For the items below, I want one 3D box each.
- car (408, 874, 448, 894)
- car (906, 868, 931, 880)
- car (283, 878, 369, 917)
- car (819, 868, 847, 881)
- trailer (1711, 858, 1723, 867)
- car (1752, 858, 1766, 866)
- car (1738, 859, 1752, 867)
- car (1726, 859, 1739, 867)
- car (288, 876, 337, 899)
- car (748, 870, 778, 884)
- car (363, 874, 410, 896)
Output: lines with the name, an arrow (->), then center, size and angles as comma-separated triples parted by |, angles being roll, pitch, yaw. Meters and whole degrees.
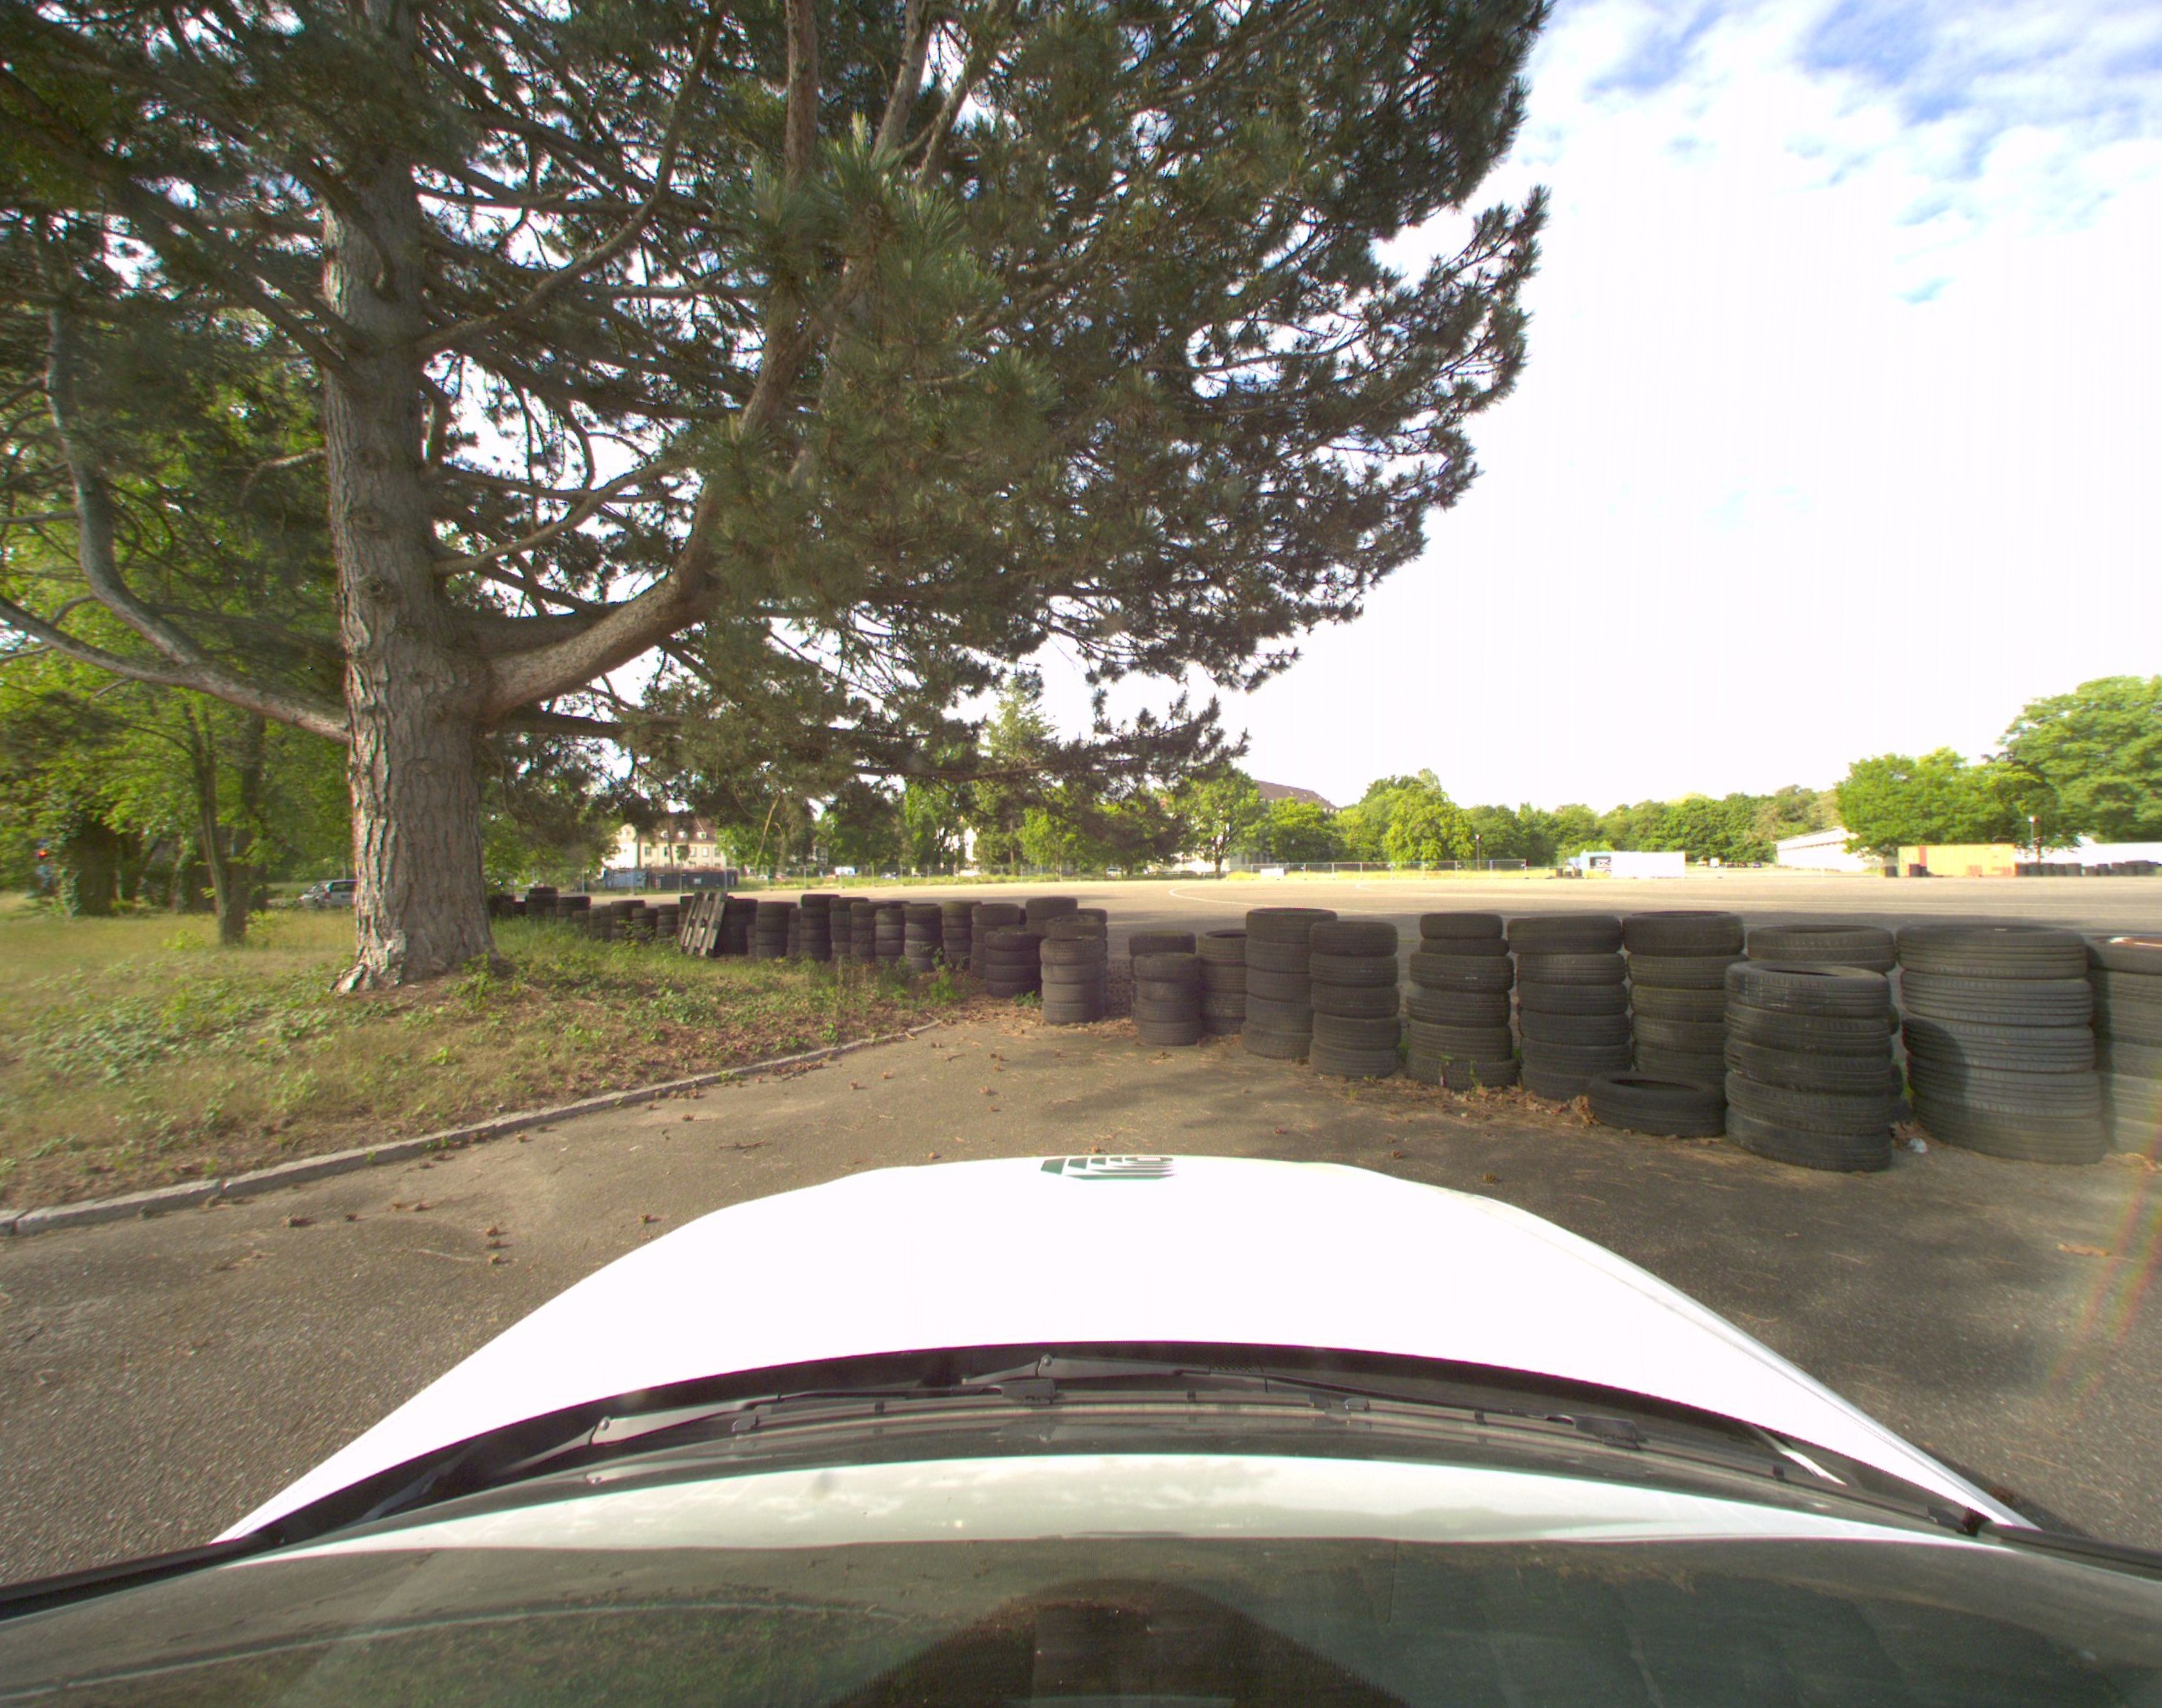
car -> -53.934, 2.481, 67.251 | 3.948, 1.618, 1.838 | -2, -1, 39
car -> -24.748, 3.051, 123.941 | 2.011, 1.750, 3.951 | 0, -1, -43
car -> -32.036, 1.800, 34.553 | 3.948, 1.541, 1.904 | -2, -1, 35
car -> -34.068, 2.859, 111.763 | 3.949, 1.750, 2.012 | -2, -1, 43
trailer -> 152.790, 2.084, 195.584 | 2.038, 2.014, 4.025 | -2, -1, 35
car -> 158.043, 1.909, 189.894 | 1.974, 1.750, 4.025 | -1, -1, 34
car -> 156.020, 2.062, 191.382 | 2.011, 1.809, 4.025 | -2, -1, 34
car -> 154.100, 2.142, 192.563 | 1.974, 1.750, 4.025 | -2, -1, 34
car -> -56.609, 2.458, 59.947 | 3.948, 1.618, 2.013 | -2, -1, 37
car -> -40.512, 2.903, 103.646 | 3.949, 1.750, 2.012 | -2, -1, 42
car -> -55.379, 2.478, 64.930 | 3.948, 1.618, 2.013 | -2, -1, 37
